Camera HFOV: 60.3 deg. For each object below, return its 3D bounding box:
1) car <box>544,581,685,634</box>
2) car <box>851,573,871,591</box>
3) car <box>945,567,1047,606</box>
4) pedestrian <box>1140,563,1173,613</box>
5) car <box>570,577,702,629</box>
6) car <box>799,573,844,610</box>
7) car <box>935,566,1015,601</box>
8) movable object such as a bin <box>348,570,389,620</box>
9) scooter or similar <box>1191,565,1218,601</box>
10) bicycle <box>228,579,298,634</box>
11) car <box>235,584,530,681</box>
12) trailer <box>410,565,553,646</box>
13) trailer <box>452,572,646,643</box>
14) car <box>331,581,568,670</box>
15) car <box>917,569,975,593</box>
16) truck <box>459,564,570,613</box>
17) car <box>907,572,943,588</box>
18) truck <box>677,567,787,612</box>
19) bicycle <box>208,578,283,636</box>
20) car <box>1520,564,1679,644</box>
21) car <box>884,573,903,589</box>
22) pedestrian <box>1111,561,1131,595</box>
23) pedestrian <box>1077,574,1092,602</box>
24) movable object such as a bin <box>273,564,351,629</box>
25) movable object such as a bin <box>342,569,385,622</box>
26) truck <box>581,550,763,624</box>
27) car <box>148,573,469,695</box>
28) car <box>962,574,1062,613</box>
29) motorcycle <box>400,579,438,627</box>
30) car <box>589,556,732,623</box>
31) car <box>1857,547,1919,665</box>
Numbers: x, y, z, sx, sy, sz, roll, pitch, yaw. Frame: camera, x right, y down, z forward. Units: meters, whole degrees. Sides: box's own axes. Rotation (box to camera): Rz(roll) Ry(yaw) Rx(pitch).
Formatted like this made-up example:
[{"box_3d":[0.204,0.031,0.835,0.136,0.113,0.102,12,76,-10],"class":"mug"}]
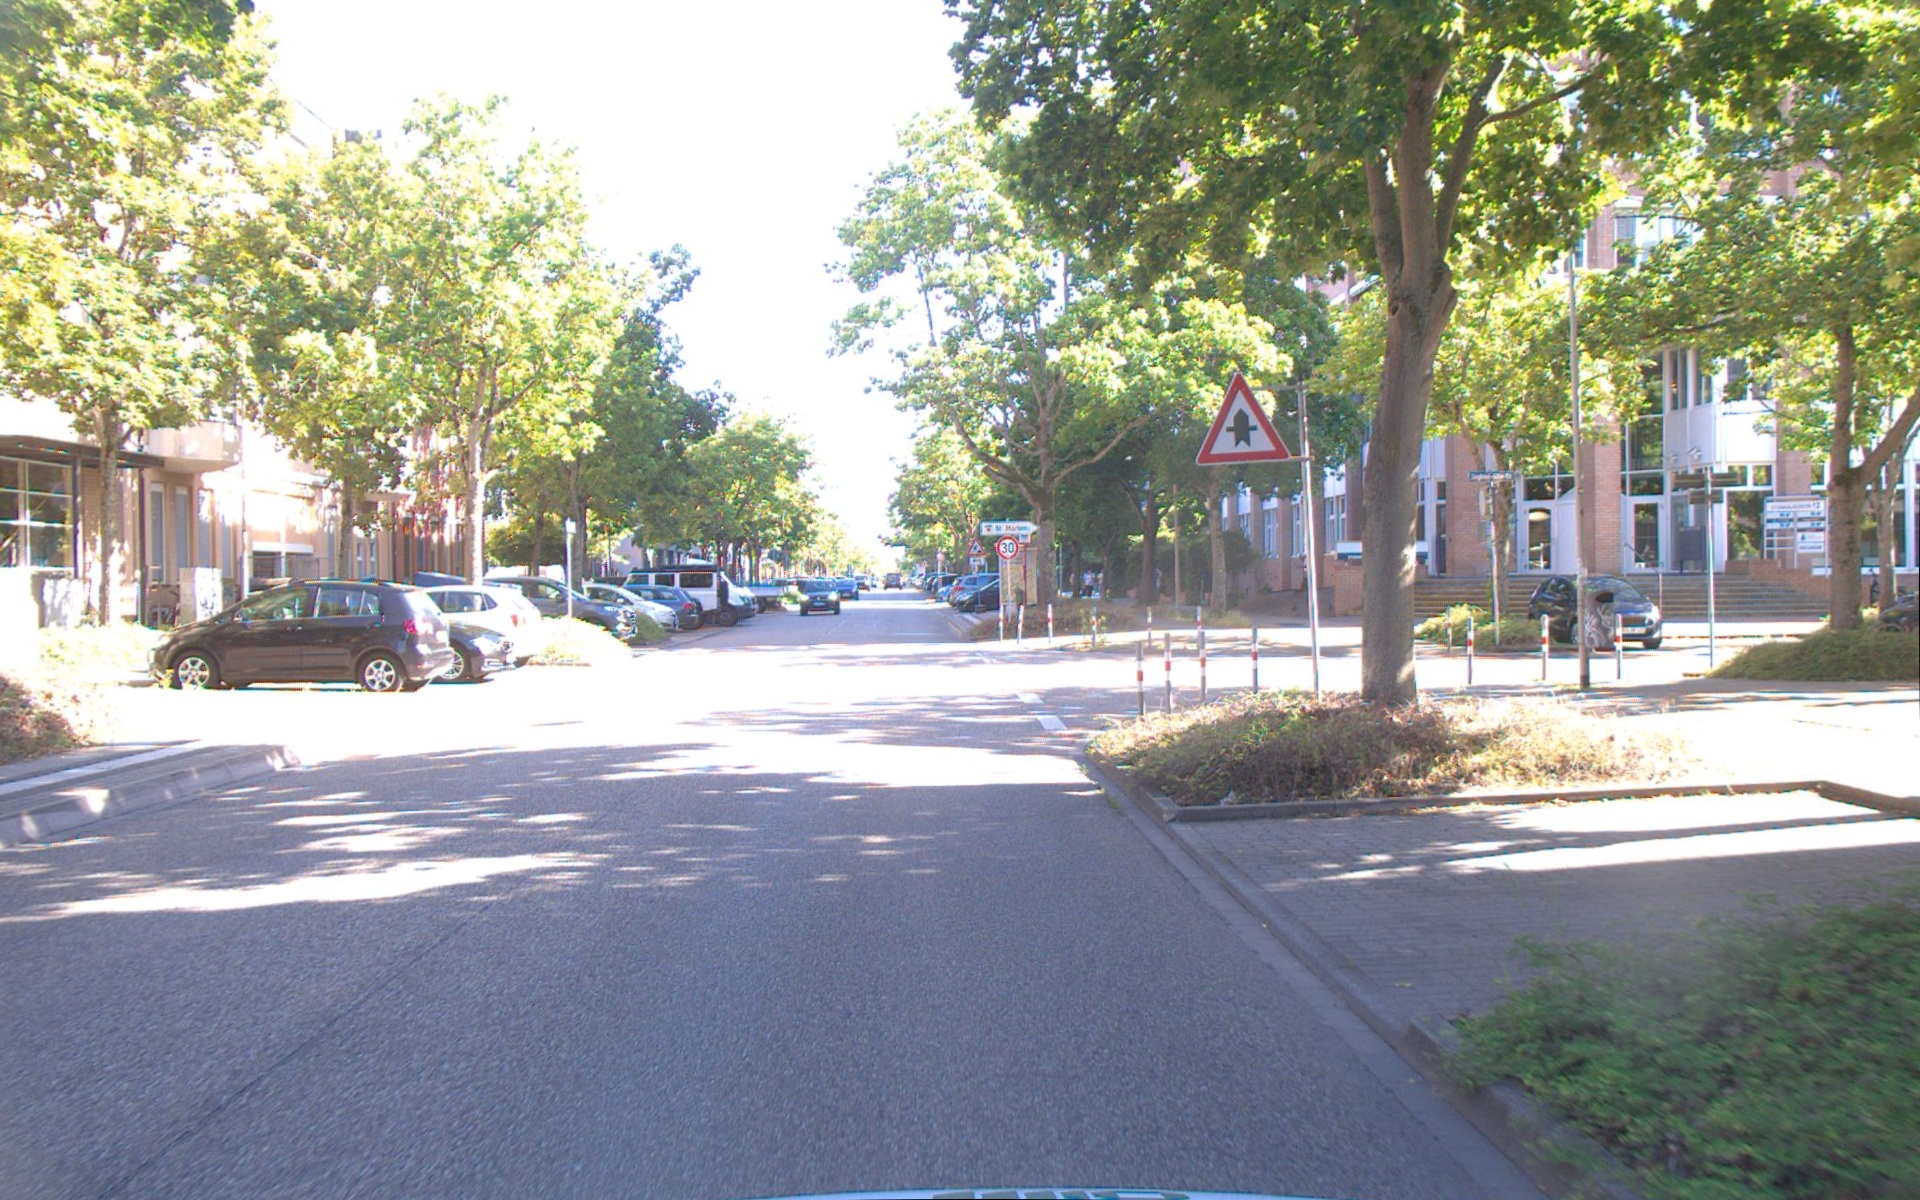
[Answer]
[{"box_3d":[-10.068,0.204,48.374,3.755,1.486,1.733,0,1,1],"class":"car"},{"box_3d":[-9.911,-1.846,165.469,1.855,1.713,4.349,-1,1,-4],"class":"car"},{"box_3d":[1.591,-0.632,74.116,4.271,1.625,1.936,-1,1,-9],"class":"car"},{"box_3d":[7.179,-0.439,60.366,0.903,1.740,0.695,-5,2,-16],"class":"pedestrian"},{"box_3d":[-9.938,0.080,50.942,3.701,1.518,1.833,0,1,-1],"class":"car"},{"box_3d":[-6.122,-0.402,73.413,1.744,1.538,3.999,-1,1,-2],"class":"car"},{"box_3d":[0.817,-0.935,92.647,4.318,1.646,1.911,-4,1,-3],"class":"car"},{"box_3d":[-19.322,-0.159,54.034,1.126,1.590,1.240,-1,1,-15],"class":"movable object such as a bin"},{"box_3d":[9.326,-0.658,63.173,0.538,1.348,1.803,0,0,-7],"class":"scooter or similar"},{"box_3d":[-18.583,0.172,44.125,1.702,1.433,0.610,0,0,-26],"class":"bicycle"},{"box_3d":[-9.132,0.499,26.417,4.068,1.427,1.800,1,1,-3],"class":"car"},{"box_3d":[-10.520,0.113,36.509,2.670,1.716,1.712,1,1,-2],"class":"trailer"},{"box_3d":[-9.599,0.163,38.875,4.178,1.599,1.854,0,1,-6],"class":"trailer"},{"box_3d":[-9.013,0.427,29.454,3.679,1.477,1.753,1,1,-3],"class":"car"},{"box_3d":[-1.055,-1.423,122.691,4.184,1.662,1.856,-2,1,-5],"class":"car"},{"box_3d":[-26.746,-0.734,99.532,5.984,2.751,2.576,-2,1,-4],"class":"truck"},{"box_3d":[-4.112,-2.357,194.003,3.911,1.823,1.997,-1,1,-8],"class":"car"},{"box_3d":[-10.789,-0.487,78.571,4.884,1.993,2.138,-1,1,-2],"class":"truck"},{"box_3d":[-17.864,0.176,41.342,1.702,1.433,0.610,0,0,-26],"class":"bicycle"},{"box_3d":[12.995,0.038,33.856,1.619,1.488,3.916,-1,1,-2],"class":"car"},{"box_3d":[-7.003,-1.967,174.272,1.894,1.625,4.364,-1,1,-3],"class":"car"},{"box_3d":[8.414,-1.139,86.504,0.684,1.740,0.917,-4,2,-13],"class":"pedestrian"},{"box_3d":[6.584,-0.636,87.453,0.687,1.483,0.715,-2,1,-5],"class":"pedestrian"},{"box_3d":[-18.714,-0.109,47.823,1.566,1.827,1.664,-1,1,0],"class":"movable object such as a bin"},{"box_3d":[-19.018,-0.151,52.758,1.126,1.648,1.436,-1,1,-15],"class":"movable object such as a bin"},{"box_3d":[-10.248,-0.462,59.216,6.106,2.464,2.187,-1,1,-2],"class":"truck"},{"box_3d":[-9.259,0.467,23.746,3.907,1.598,1.727,1,1,-3],"class":"car"},{"box_3d":[2.070,-0.256,66.896,3.857,1.464,1.773,-1,1,-5],"class":"car"},{"box_3d":[-18.912,0.098,57.857,0.700,1.619,2.108,-1,1,-4],"class":"motorcycle"},{"box_3d":[-9.738,-0.342,54.084,4.393,2.087,1.998,0,0,-4],"class":"car"},{"box_3d":[13.958,0.059,21.732,1.704,1.593,4.361,0,-1,-5],"class":"car"}]
